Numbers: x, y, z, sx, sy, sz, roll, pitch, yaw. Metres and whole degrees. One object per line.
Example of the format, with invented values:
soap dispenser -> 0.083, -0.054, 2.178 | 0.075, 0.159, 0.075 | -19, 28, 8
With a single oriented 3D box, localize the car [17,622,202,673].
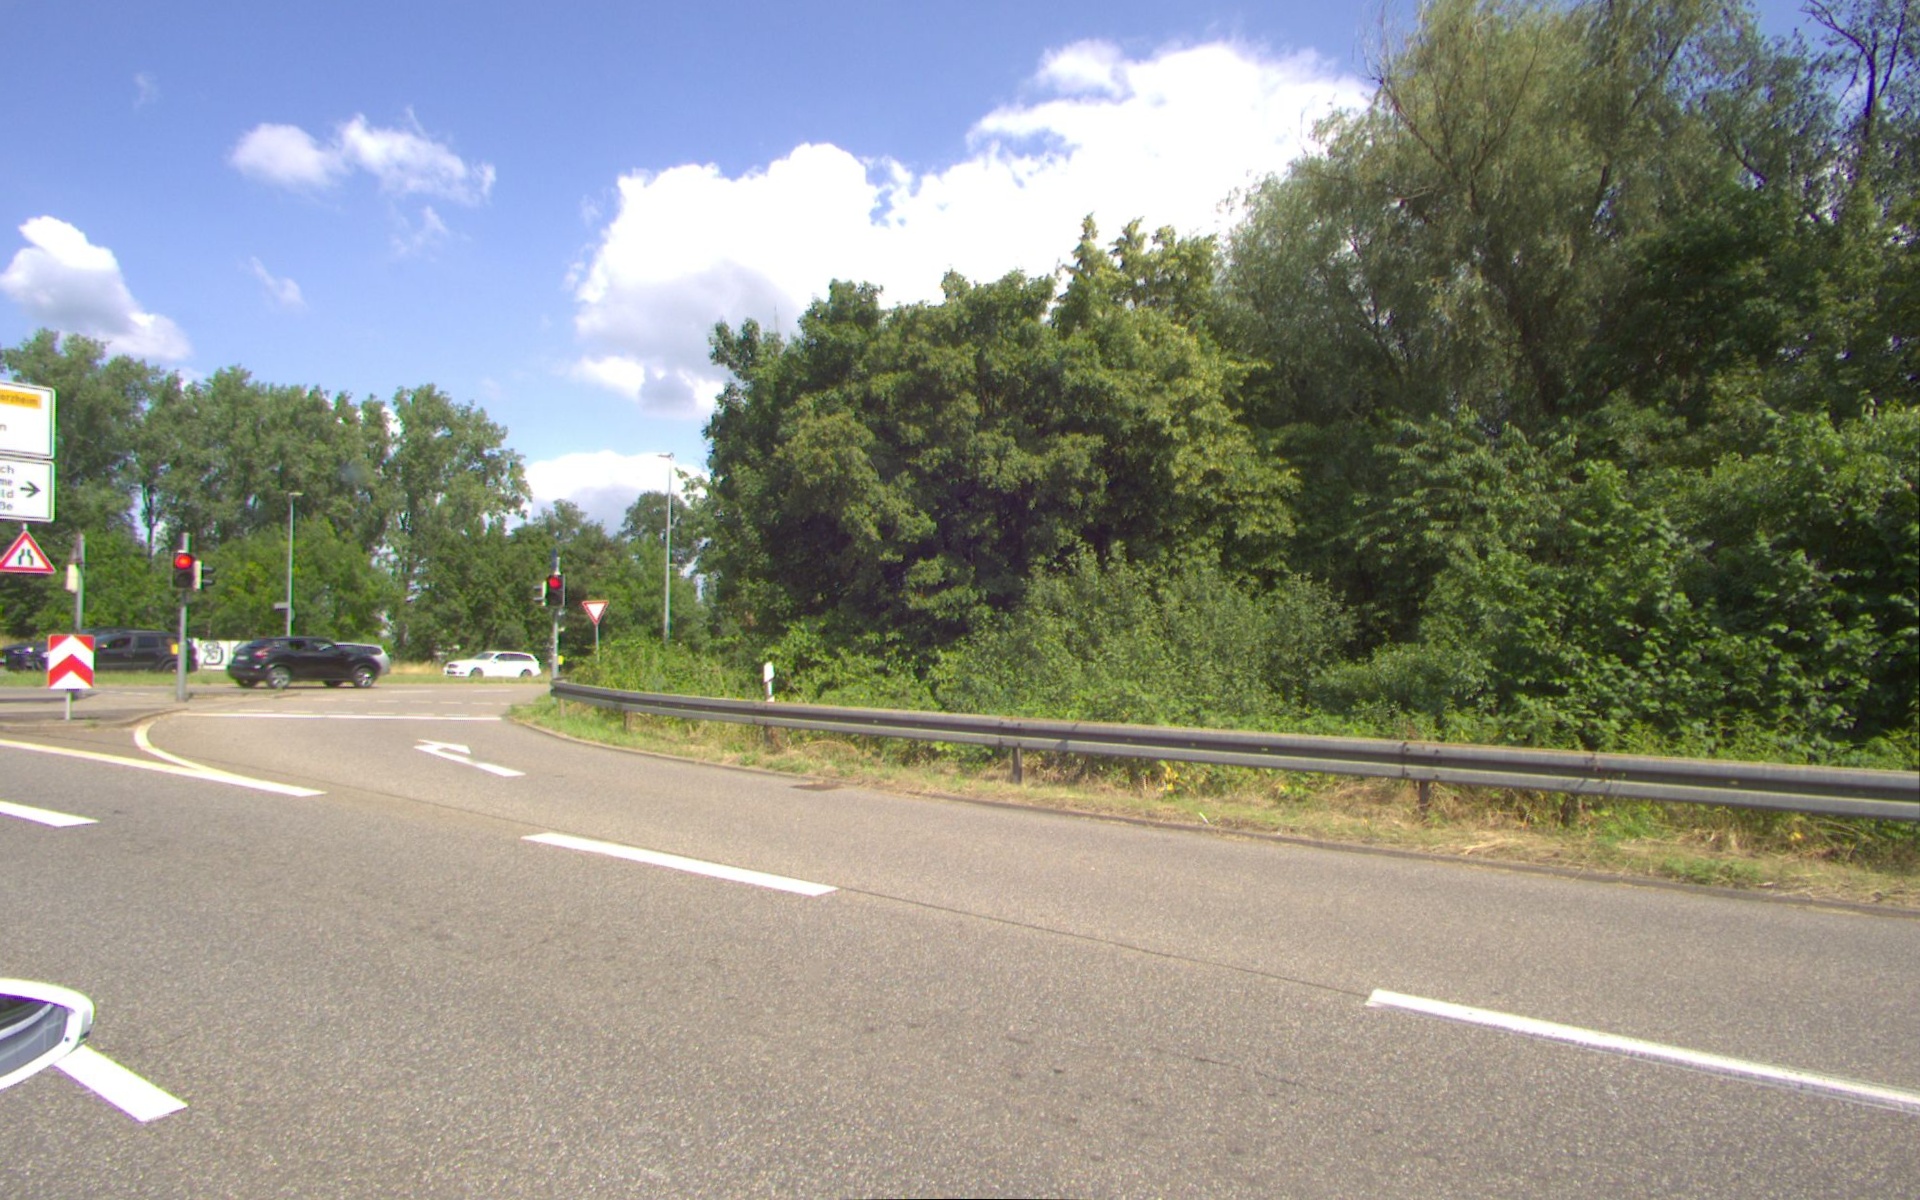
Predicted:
car -> -27.550, 1.549, 32.588 | 1.711, 1.564, 4.264 | 0, -3, 31

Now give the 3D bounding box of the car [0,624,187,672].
car -> -30.415, 1.680, 35.167 | 1.711, 1.564, 4.842 | 0, -3, 31

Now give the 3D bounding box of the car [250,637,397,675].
car -> -24.200, 2.139, 38.265 | 1.710, 1.337, 4.471 | 0, -3, 29

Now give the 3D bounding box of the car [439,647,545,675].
car -> -22.658, 2.947, 48.644 | 1.710, 1.297, 4.491 | 0, -3, 29

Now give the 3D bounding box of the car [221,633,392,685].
car -> -19.845, 1.792, 30.591 | 1.921, 1.436, 3.962 | 0, -3, 24
